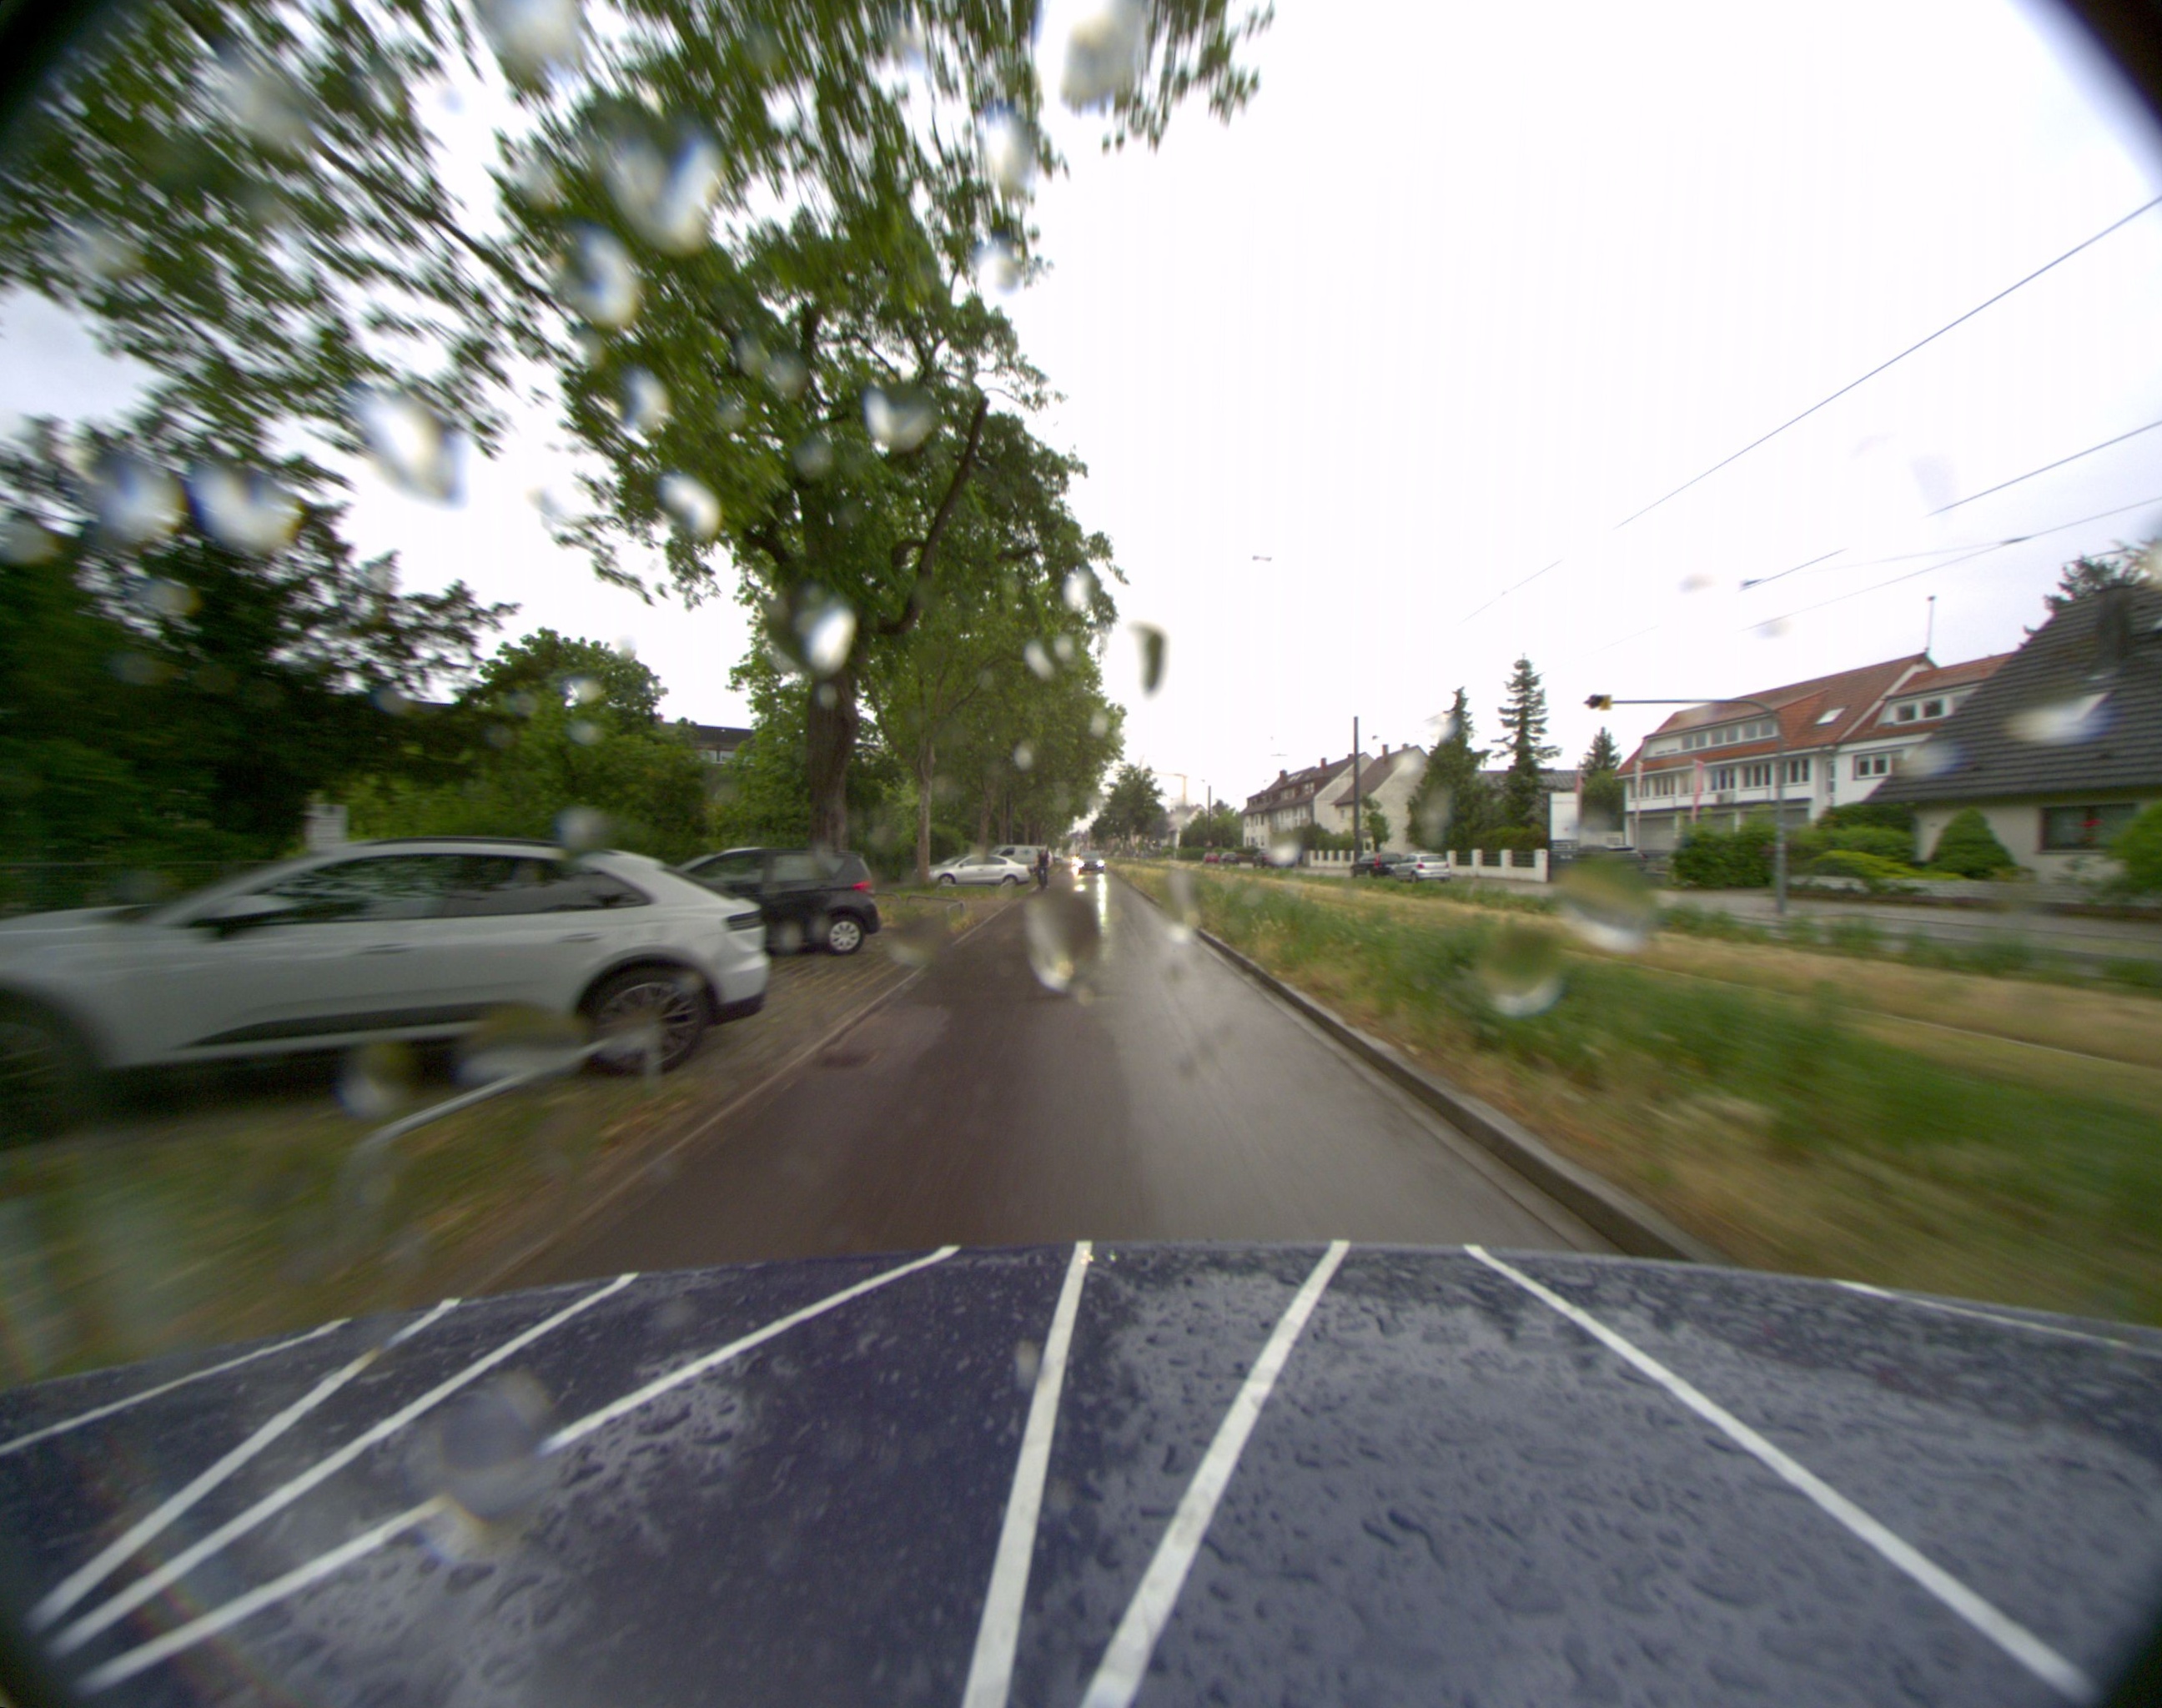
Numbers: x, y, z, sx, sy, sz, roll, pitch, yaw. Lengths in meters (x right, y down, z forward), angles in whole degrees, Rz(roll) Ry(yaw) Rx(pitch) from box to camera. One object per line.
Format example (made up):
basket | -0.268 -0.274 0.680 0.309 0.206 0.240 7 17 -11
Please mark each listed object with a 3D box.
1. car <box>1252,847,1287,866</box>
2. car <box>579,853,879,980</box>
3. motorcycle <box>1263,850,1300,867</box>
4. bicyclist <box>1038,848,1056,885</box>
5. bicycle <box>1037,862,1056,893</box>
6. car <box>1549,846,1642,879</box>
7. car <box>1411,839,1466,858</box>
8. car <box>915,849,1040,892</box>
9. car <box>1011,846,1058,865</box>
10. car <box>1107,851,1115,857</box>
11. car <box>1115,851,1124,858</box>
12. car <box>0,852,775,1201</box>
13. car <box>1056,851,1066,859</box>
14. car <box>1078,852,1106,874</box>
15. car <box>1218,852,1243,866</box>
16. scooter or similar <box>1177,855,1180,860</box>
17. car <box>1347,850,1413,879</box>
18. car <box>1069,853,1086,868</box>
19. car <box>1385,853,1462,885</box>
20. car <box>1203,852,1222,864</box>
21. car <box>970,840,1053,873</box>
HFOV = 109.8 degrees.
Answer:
car | 17.120 0.208 69.180 1.999 1.665 4.386 -1 1 -2
car | -5.028 0.783 11.037 3.721 1.557 1.615 1 1 -32
motorcycle | 16.947 0.390 64.270 2.680 1.403 1.269 0 2 42
bicyclist | -1.356 0.470 30.029 0.675 1.421 0.753 2 1 -3
bicycle | -1.379 0.915 30.292 0.675 1.136 2.444 2 0 -3
car | 24.215 0.373 35.953 1.703 1.402 3.971 -2 0 0
car | 31.221 -0.492 66.341 3.968 1.531 1.704 -2 0 -1
car | -4.133 0.665 30.576 4.569 1.535 1.883 3 -1 -32
car | -4.194 0.141 68.804 4.056 1.631 1.649 0 1 -38
car | 9.376 0.076 238.237 2.000 2.002 3.997 0 0 -8
car | 10.987 0.043 216.880 2.000 2.002 3.997 0 0 -6
car | -4.823 0.822 5.110 4.784 1.658 1.989 0 1 -36
car | -3.828 0.206 145.176 1.781 1.477 3.999 2 0 -1
car | 0.765 0.604 53.965 1.781 1.477 3.999 2 0 -1
car | 16.852 0.556 86.094 1.998 1.402 4.762 -2 0 2
scooter or similar | 17.710 0.566 137.890 0.347 0.905 1.258 0 0 -6
car | 16.749 0.557 42.818 1.998 1.447 4.531 -2 0 2
car | -0.399 0.690 81.475 1.781 1.477 3.999 2 0 -1
car | 16.837 0.709 37.580 1.998 1.402 3.971 -2 0 0
car | 16.851 0.529 97.440 1.802 1.448 4.000 -2 0 2
car | -4.492 0.208 49.453 5.040 2.001 1.995 2 0 -35
